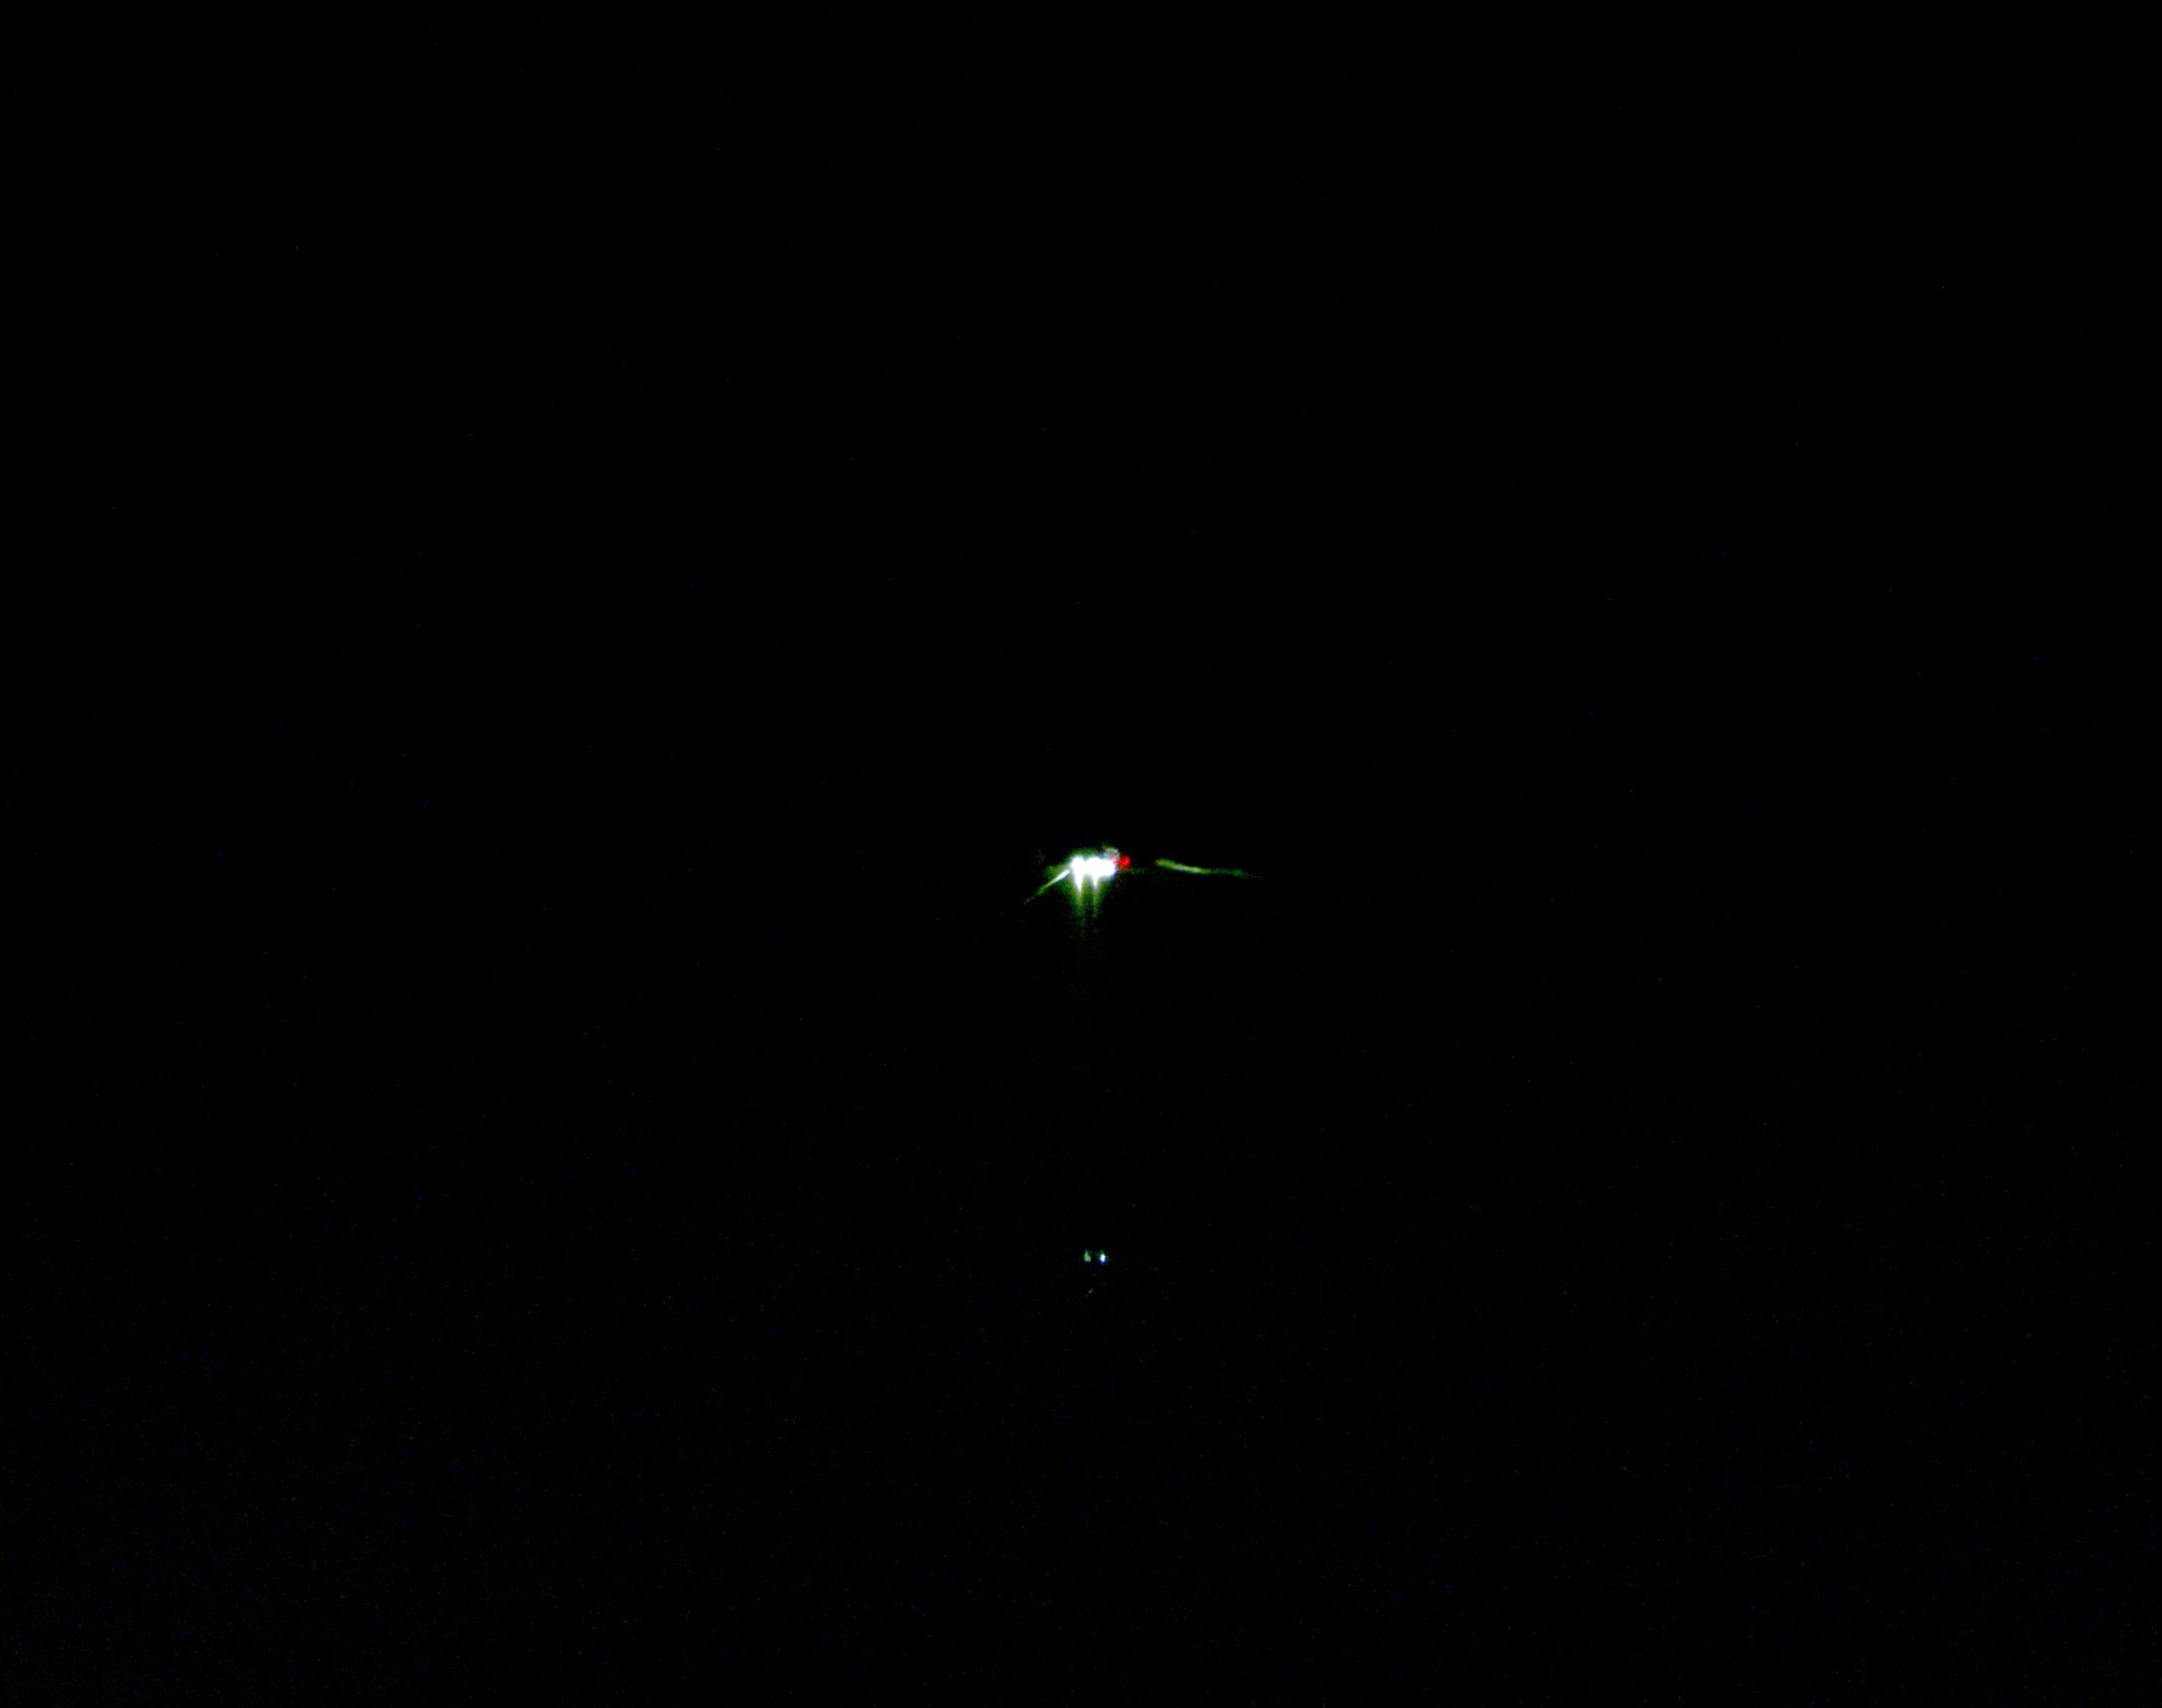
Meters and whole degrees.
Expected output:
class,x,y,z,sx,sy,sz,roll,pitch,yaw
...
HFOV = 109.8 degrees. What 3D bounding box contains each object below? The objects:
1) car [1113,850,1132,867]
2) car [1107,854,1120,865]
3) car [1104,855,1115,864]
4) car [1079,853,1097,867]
class,x,y,z,sx,sy,sz,roll,pitch,yaw
car,4.868,0.509,89.022,1.998,1.782,4.246,-3,1,1
car,4.873,0.810,114.138,1.848,1.471,4.249,-3,1,2
car,5.378,1.041,142.401,1.998,1.467,3.924,-3,1,1
car,0.832,0.605,84.950,1.807,1.452,4.276,-3,0,3
